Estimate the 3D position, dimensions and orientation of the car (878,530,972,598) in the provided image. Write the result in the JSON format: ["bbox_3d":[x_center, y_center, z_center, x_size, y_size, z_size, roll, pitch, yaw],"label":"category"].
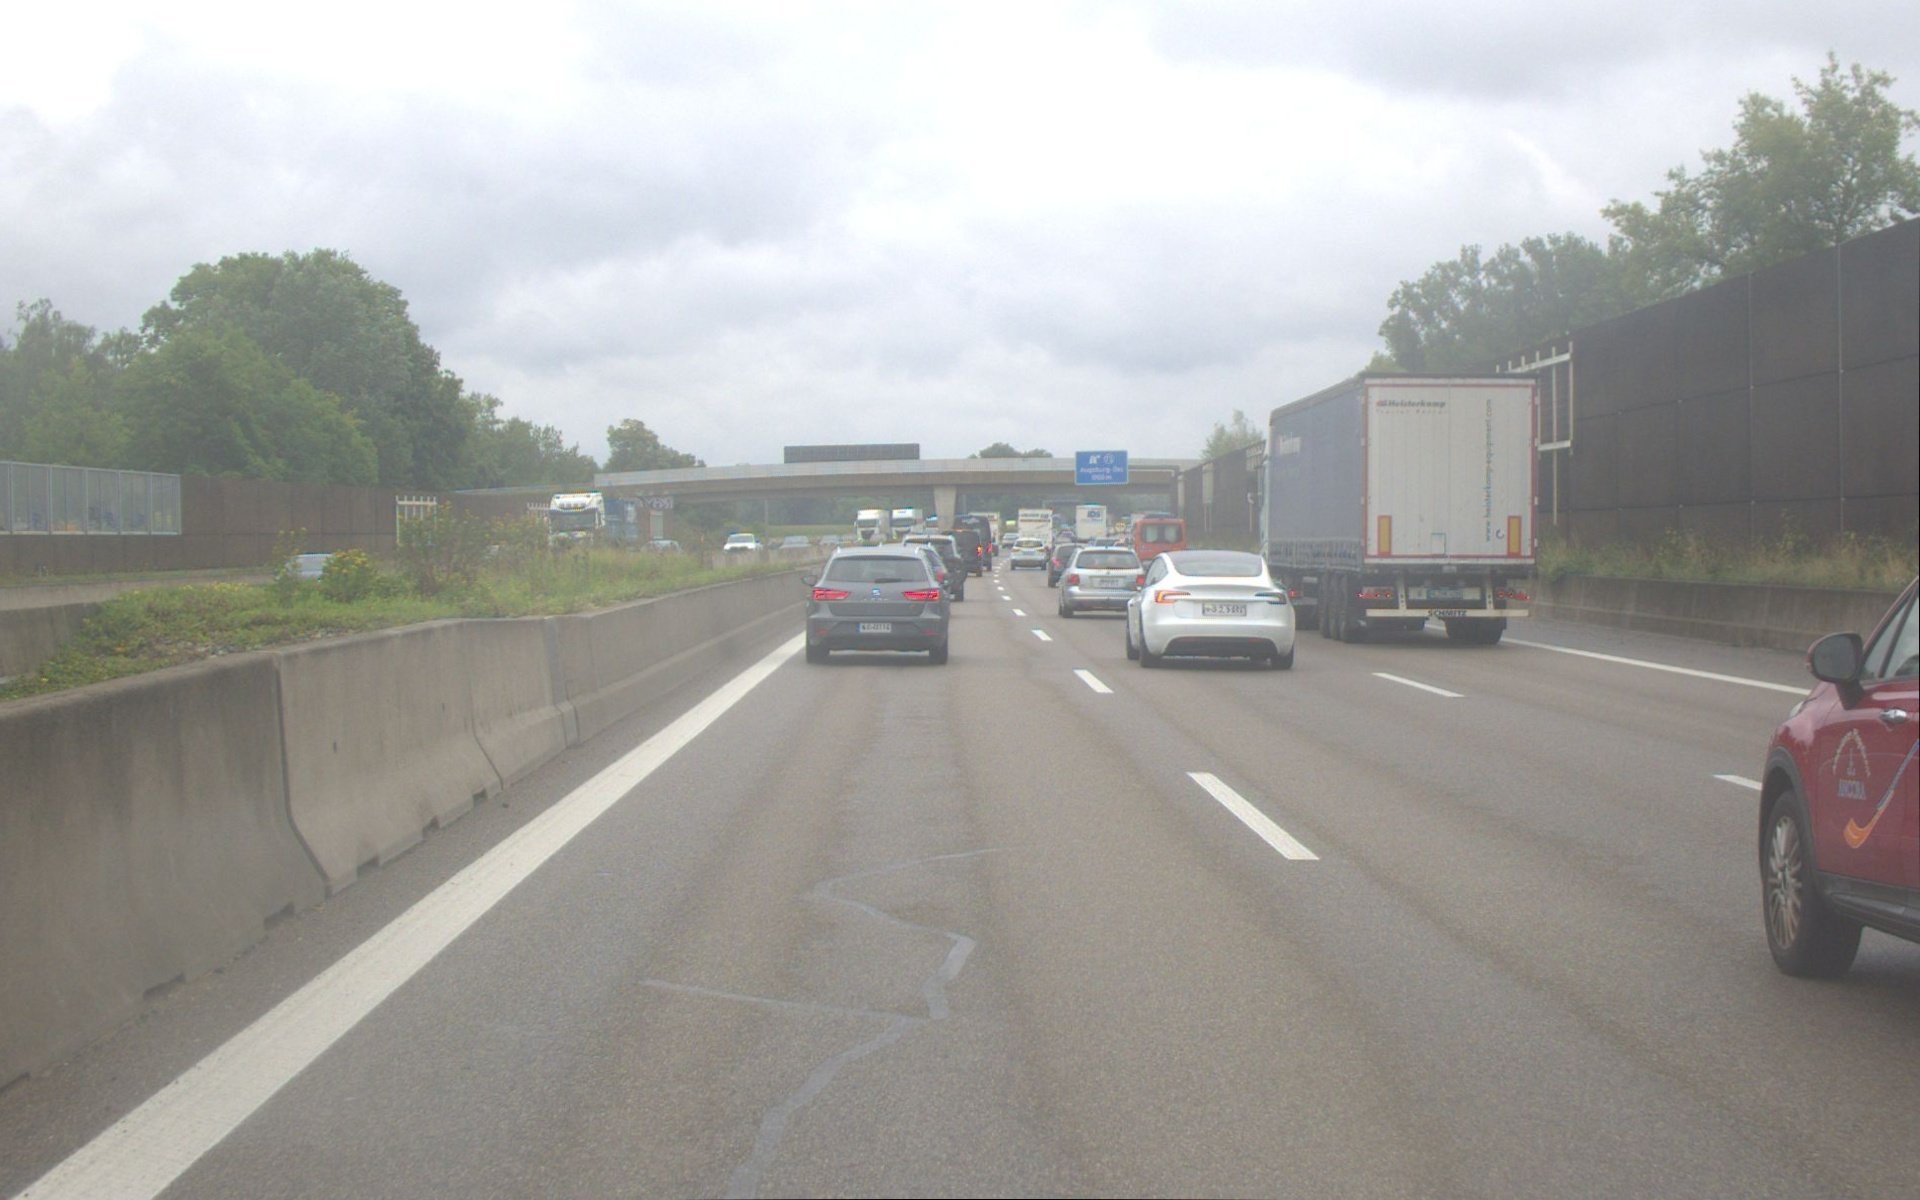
[{"bbox_3d":[-0.870,-0.899,83.319,1.993,1.579,4.001,-1,1,-5],"label":"car"}]

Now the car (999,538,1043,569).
[{"bbox_3d":[3.038,-2.307,171.235,1.993,1.514,4.000,0,1,-2],"label":"car"}]

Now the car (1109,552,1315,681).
[{"bbox_3d":[3.045,0.164,42.338,1.993,1.481,4.001,0,1,-4],"label":"car"}]

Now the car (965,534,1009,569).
[{"bbox_3d":[1.274,-2.327,163.033,1.993,1.618,4.000,1,1,-1],"label":"car"}]

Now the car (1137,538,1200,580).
[{"bbox_3d":[7.774,-1.543,128.323,1.993,1.514,4.000,0,1,-2],"label":"car"}]

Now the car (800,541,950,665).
[{"bbox_3d":[-1.091,-0.002,42.727,1.763,1.448,4.001,1,1,-3],"label":"car"}]

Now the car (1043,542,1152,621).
[{"bbox_3d":[2.766,-0.399,69.819,1.993,1.514,4.000,1,1,-1],"label":"car"}]

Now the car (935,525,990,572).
[{"bbox_3d":[0.085,-2.074,137.305,1.993,1.809,4.001,1,1,-3],"label":"car"}]

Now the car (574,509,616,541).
[{"bbox_3d":[-17.723,-3.650,167.015,1.993,1.514,4.001,0,1,-6],"label":"car"}]

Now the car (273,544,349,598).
[{"bbox_3d":[-19.250,-0.874,102.042,1.561,1.564,3.688,1,1,-1],"label":"car"}]

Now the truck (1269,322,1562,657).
[{"bbox_3d":[6.847,-1.642,52.952,3.044,4.718,7.681,1,1,-3],"label":"truck"}]

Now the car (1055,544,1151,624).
[{"bbox_3d":[2.867,-0.337,69.434,1.702,1.538,3.839,0,1,-1],"label":"car"}]

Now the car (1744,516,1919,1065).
[{"bbox_3d":[3.840,0.552,10.562,1.957,1.641,4.000,-1,1,0],"label":"car"}]

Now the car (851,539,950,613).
[{"bbox_3d":[-1.203,-0.496,67.936,1.781,1.401,3.627,0,1,-3],"label":"car"}]
